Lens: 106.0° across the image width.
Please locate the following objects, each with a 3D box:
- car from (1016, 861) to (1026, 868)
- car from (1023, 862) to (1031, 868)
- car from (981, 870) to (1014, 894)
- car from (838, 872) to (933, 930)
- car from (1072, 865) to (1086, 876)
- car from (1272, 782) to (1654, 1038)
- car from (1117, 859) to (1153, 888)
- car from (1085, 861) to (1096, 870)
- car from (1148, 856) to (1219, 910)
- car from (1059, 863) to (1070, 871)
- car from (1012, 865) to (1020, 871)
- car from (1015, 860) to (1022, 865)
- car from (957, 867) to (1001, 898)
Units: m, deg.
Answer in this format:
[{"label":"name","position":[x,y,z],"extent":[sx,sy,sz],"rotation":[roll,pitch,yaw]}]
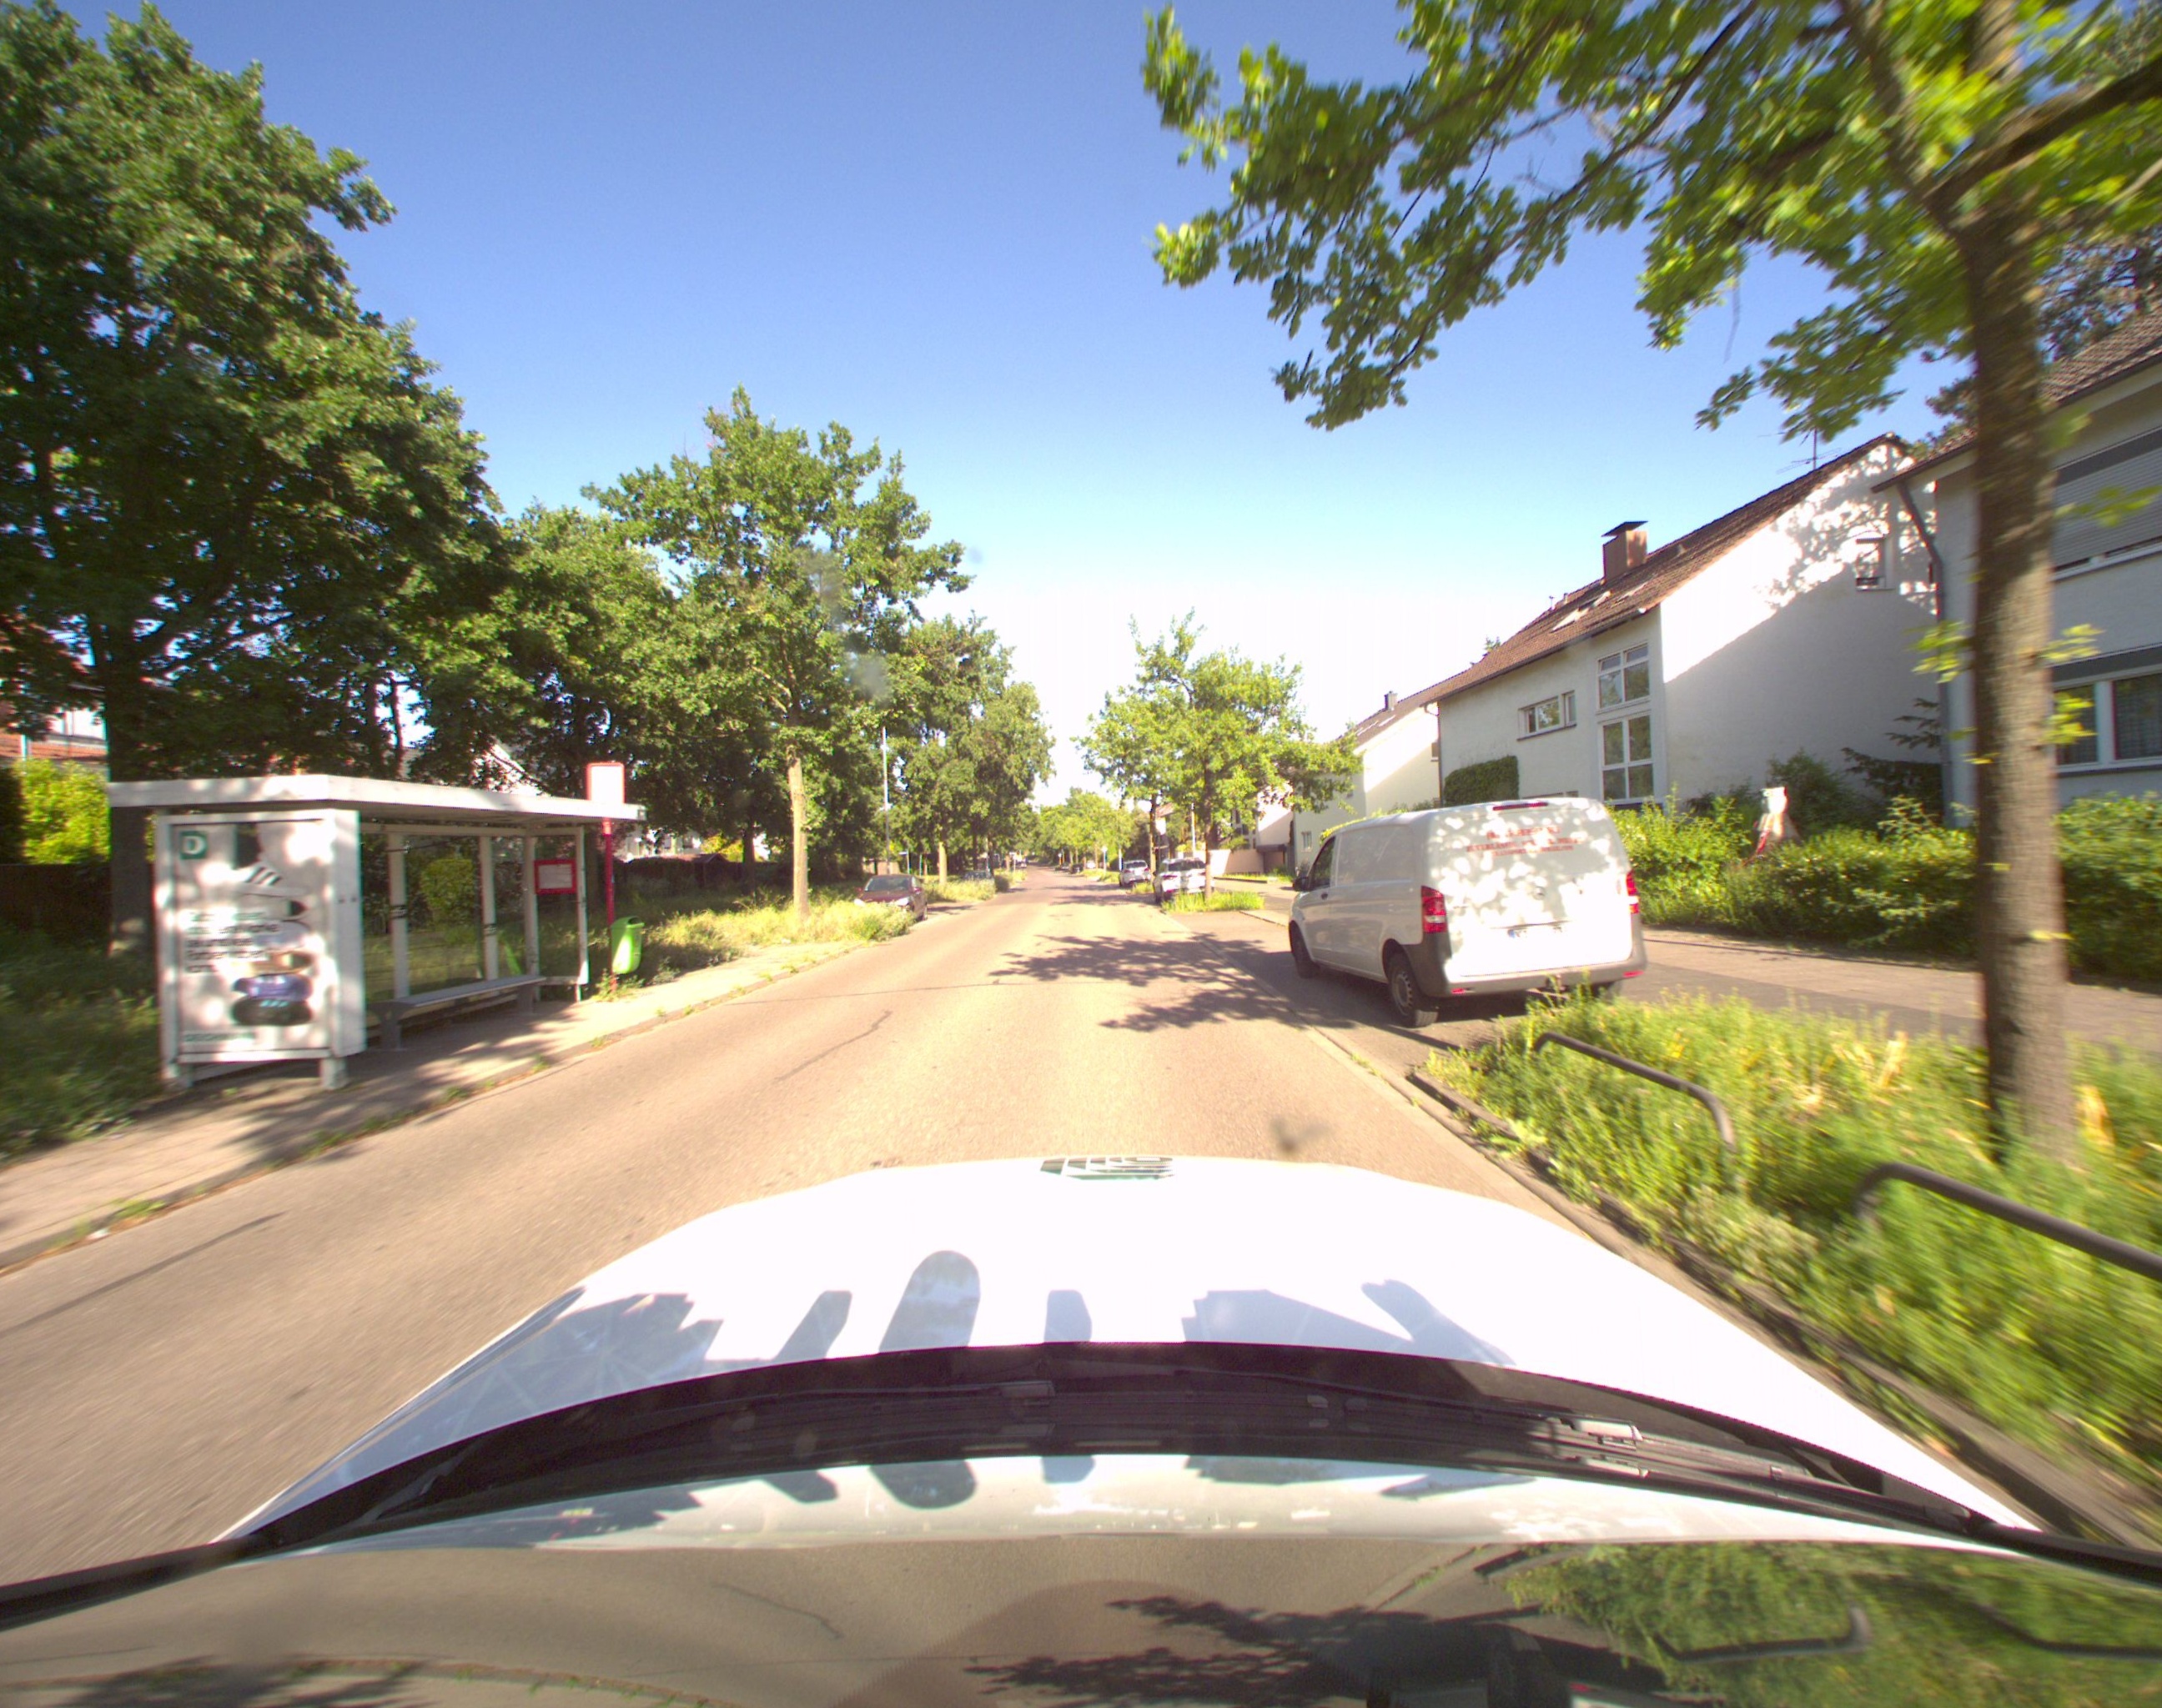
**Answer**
[{"label":"car","position":[-13.114,2.392,178.198],"extent":[1.928,1.454,3.997],"rotation":[-2,-1,-2]},{"label":"car","position":[-14.633,2.942,220.963],"extent":[1.928,1.454,3.997],"rotation":[-2,-1,-2]},{"label":"car","position":[-5.648,1.861,55.492],"extent":[1.790,1.479,3.520],"rotation":[-2,-1,1]},{"label":"car","position":[-5.683,1.312,24.146],"extent":[1.931,1.479,3.996],"rotation":[-2,-1,-2]},{"label":"car","position":[-0.312,2.413,120.611],"extent":[1.927,1.542,3.998],"rotation":[-2,-1,-1]},{"label":"car","position":[3.597,0.472,8.853],"extent":[1.830,1.971,4.757],"rotation":[-2,-1,0]},{"label":"car","position":[3.351,1.212,51.534],"extent":[1.927,1.742,3.998],"rotation":[-2,-1,-1]},{"label":"car","position":[1.704,2.056,146.712],"extent":[1.928,1.454,3.997],"rotation":[-2,-1,-2]},{"label":"car","position":[3.575,0.991,29.055],"extent":[1.930,1.704,3.998],"rotation":[-2,-1,-1]},{"label":"car","position":[-3.045,2.340,149.177],"extent":[1.928,1.454,3.997],"rotation":[-2,-1,-2]},{"label":"car","position":[-16.407,3.508,206.434],"extent":[1.750,1.454,3.997],"rotation":[-2,-1,-2]},{"label":"car","position":[-17.991,2.381,235.755],"extent":[1.750,1.454,3.997],"rotation":[-2,-1,-2]},{"label":"car","position":[-5.396,1.467,43.491],"extent":[1.989,1.557,3.996],"rotation":[-1,-1,-3]}]
